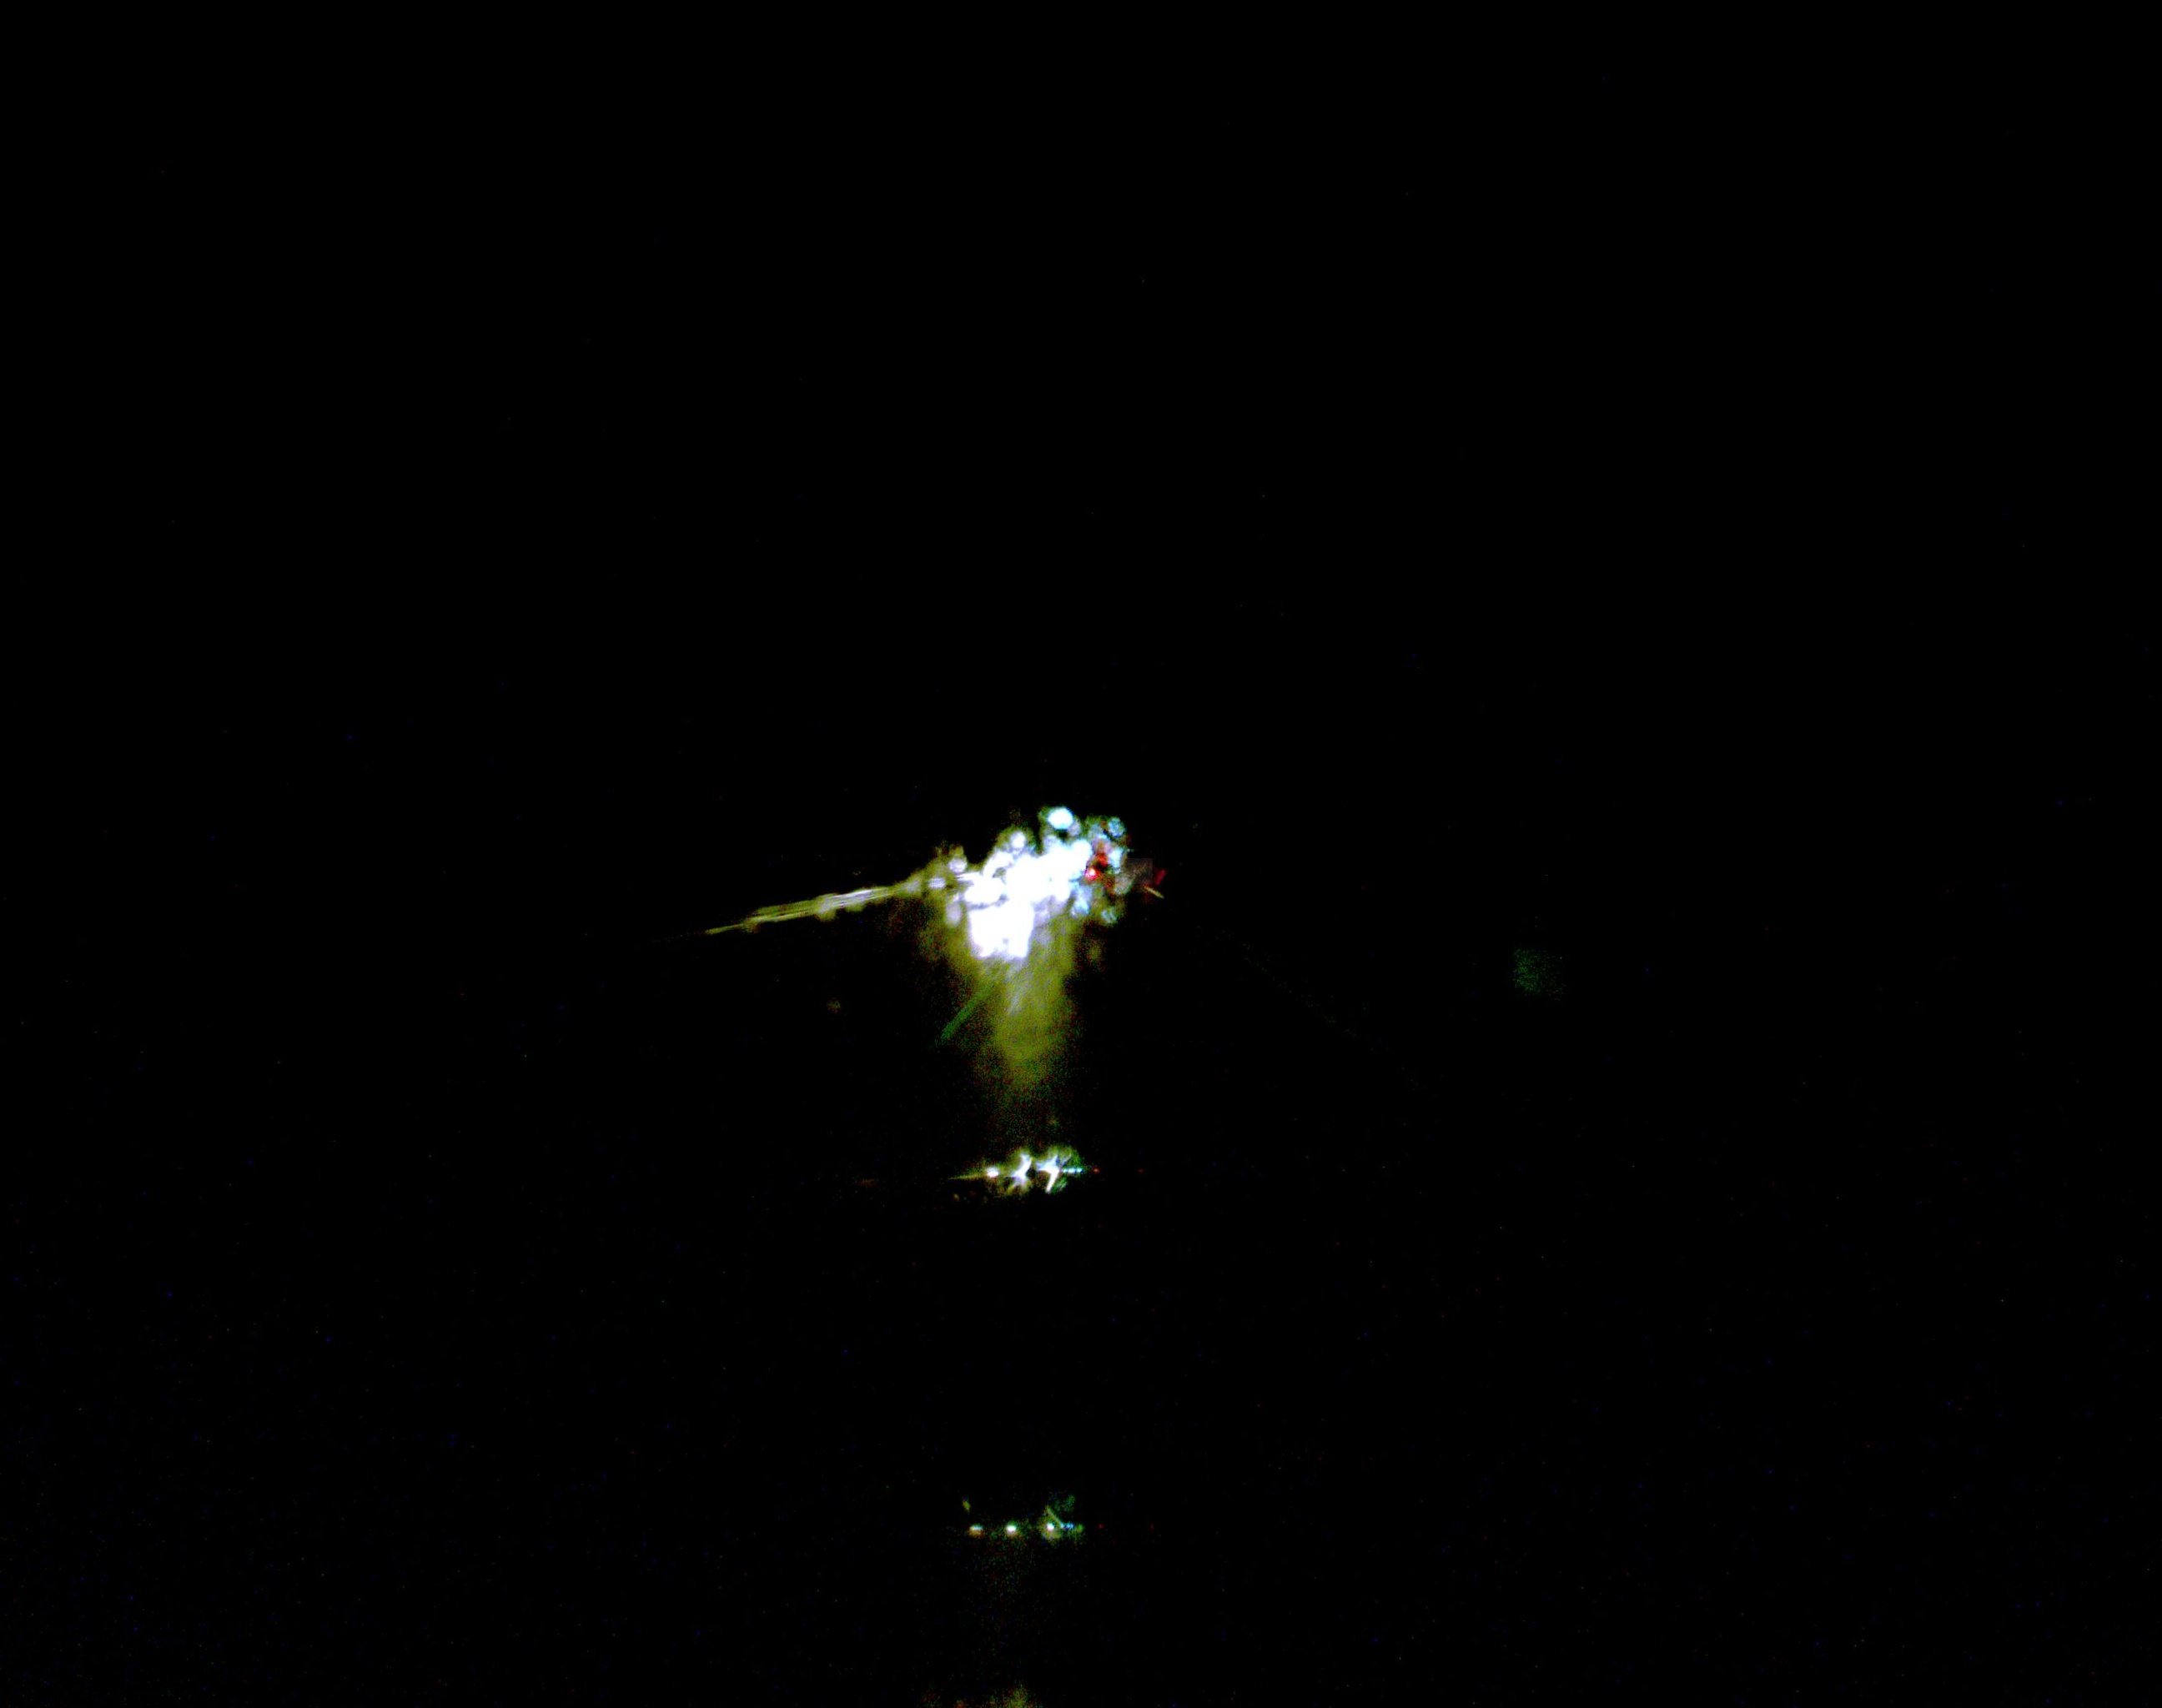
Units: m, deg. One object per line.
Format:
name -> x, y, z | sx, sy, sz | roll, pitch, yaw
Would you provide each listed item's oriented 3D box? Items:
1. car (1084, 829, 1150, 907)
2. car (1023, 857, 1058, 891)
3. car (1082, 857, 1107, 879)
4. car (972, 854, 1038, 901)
car -> 1.295, 0.410, 29.692 | 2.172, 2.557, 4.511 | 2, 1, 2
car -> -2.433, 1.170, 49.610 | 1.830, 1.843, 4.001 | -2, 2, 0
car -> 0.982, 1.026, 58.704 | 1.700, 1.505, 3.607 | -1, -1, 2
car -> -2.598, 0.792, 28.637 | 1.837, 1.505, 3.711 | -1, -1, 1
